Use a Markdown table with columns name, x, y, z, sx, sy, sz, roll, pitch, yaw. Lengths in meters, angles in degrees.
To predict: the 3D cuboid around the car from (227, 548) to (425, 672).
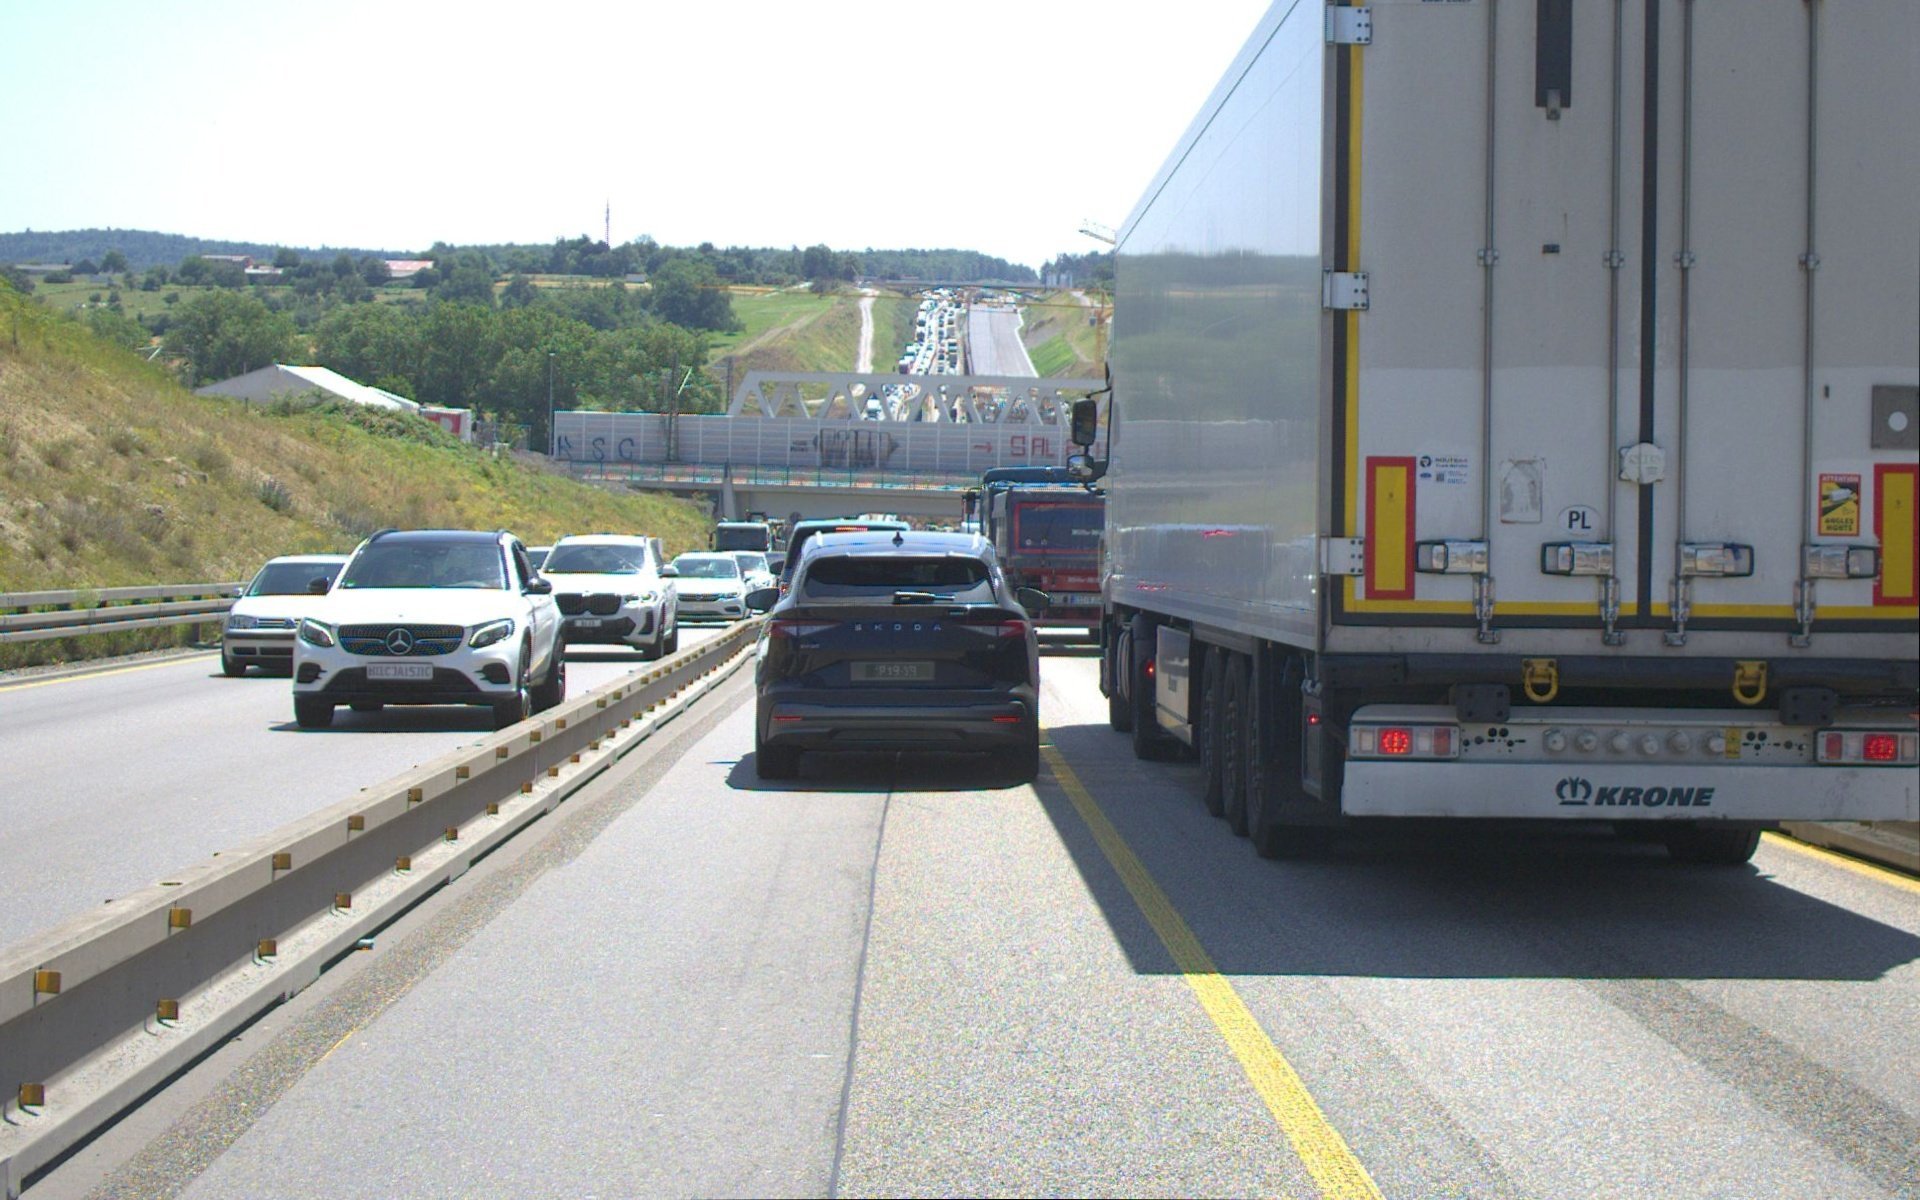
| name | x | y | z | sx | sy | sz | roll | pitch | yaw |
| --- | --- | --- | --- | --- | --- | --- | --- | --- | --- |
| car | -7.488 | 0.084 | 40.913 | 1.701 | 1.374 | 3.967 | 1 | 1 | -2 |

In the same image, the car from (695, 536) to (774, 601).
| name | x | y | z | sx | sy | sz | roll | pitch | yaw |
| --- | --- | --- | --- | --- | --- | --- | --- | --- | --- |
| car | -5.757 | -0.829 | 88.148 | 1.815 | 1.587 | 4.290 | 1 | 1 | -2 |

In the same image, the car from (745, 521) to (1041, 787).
| name | x | y | z | sx | sy | sz | roll | pitch | yaw |
| --- | --- | --- | --- | --- | --- | --- | --- | --- | --- |
| car | -0.432 | 0.293 | 22.702 | 1.800 | 1.615 | 3.298 | 0 | 1 | -1 |

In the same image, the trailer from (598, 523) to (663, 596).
| name | x | y | z | sx | sy | sz | roll | pitch | yaw |
| --- | --- | --- | --- | --- | --- | --- | --- | --- | --- |
| trailer | -9.289 | -1.148 | 97.130 | 1.646 | 2.019 | 4.271 | 0 | 1 | -3 |

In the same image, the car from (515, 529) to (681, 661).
| name | x | y | z | sx | sy | sz | roll | pitch | yaw |
| --- | --- | --- | --- | --- | --- | --- | --- | --- | --- |
| car | -4.928 | -0.109 | 47.304 | 1.891 | 1.702 | 4.562 | 1 | 1 | -2 |

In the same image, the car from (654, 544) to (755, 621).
| name | x | y | z | sx | sy | sz | roll | pitch | yaw |
| --- | --- | --- | --- | --- | --- | --- | --- | --- | --- |
| car | -5.104 | -0.380 | 69.085 | 1.806 | 1.472 | 4.280 | 1 | 1 | -2 |

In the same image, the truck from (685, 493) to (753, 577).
| name | x | y | z | sx | sy | sz | roll | pitch | yaw |
| --- | --- | --- | --- | --- | --- | --- | --- | --- | --- |
| truck | -10.964 | -2.959 | 157.227 | 2.587 | 3.710 | 9.333 | 0 | 1 | -1 |

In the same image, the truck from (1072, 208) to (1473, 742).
| name | x | y | z | sx | sy | sz | roll | pitch | yaw |
| --- | --- | --- | --- | --- | --- | --- | --- | --- | --- |
| truck | 2.459 | -0.974 | 28.638 | 2.776 | 4.044 | 4.905 | 0 | 0 | -1 |

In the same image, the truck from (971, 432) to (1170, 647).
| name | x | y | z | sx | sy | sz | roll | pitch | yaw |
| --- | --- | --- | --- | --- | --- | --- | --- | --- | --- |
| truck | 1.640 | -0.965 | 56.739 | 2.814 | 3.124 | 12.838 | 0 | 1 | 0 |

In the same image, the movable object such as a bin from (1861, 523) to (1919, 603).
| name | x | y | z | sx | sy | sz | roll | pitch | yaw |
| --- | --- | --- | --- | --- | --- | --- | --- | --- | --- |
| movable object such as a bin | 36.212 | -1.367 | 127.813 | 2.887 | 2.899 | 9.479 | 1 | 1 | 0 |

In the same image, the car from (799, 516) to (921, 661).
| name | x | y | z | sx | sy | sz | roll | pitch | yaw |
| --- | --- | --- | --- | --- | --- | --- | --- | --- | --- |
| car | -1.247 | -0.174 | 43.967 | 1.475 | 1.789 | 3.298 | 0 | 1 | 0 |

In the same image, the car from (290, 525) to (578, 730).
| name | x | y | z | sx | sy | sz | roll | pitch | yaw |
| --- | --- | --- | --- | --- | --- | --- | --- | --- | --- |
| car | -4.462 | 0.183 | 29.743 | 1.812 | 1.632 | 4.362 | 0 | 1 | 0 |

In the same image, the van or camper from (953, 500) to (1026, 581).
| name | x | y | z | sx | sy | sz | roll | pitch | yaw |
| --- | --- | --- | --- | --- | --- | --- | --- | --- | --- |
| van or camper | 0.836 | -1.739 | 100.100 | 1.993 | 2.237 | 4.000 | 2 | 1 | 0 |

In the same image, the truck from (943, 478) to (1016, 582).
| name | x | y | z | sx | sy | sz | roll | pitch | yaw |
| --- | --- | --- | --- | --- | --- | --- | --- | --- | --- |
| truck | 0.732 | -2.794 | 136.676 | 2.517 | 3.946 | 7.600 | 2 | 1 | -1 |

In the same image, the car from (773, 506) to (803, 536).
| name | x | y | z | sx | sy | sz | roll | pitch | yaw |
| --- | --- | --- | --- | --- | --- | --- | --- | --- | --- |
| car | -10.592 | -4.867 | 211.861 | 1.732 | 1.787 | 3.581 | 1 | 1 | -1 |

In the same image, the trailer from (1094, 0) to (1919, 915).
| name | x | y | z | sx | sy | sz | roll | pitch | yaw |
| --- | --- | --- | --- | --- | --- | --- | --- | --- | --- |
| trailer | 2.617 | -0.880 | 20.364 | 2.801 | 4.044 | 14.118 | 0 | 1 | -1 |
